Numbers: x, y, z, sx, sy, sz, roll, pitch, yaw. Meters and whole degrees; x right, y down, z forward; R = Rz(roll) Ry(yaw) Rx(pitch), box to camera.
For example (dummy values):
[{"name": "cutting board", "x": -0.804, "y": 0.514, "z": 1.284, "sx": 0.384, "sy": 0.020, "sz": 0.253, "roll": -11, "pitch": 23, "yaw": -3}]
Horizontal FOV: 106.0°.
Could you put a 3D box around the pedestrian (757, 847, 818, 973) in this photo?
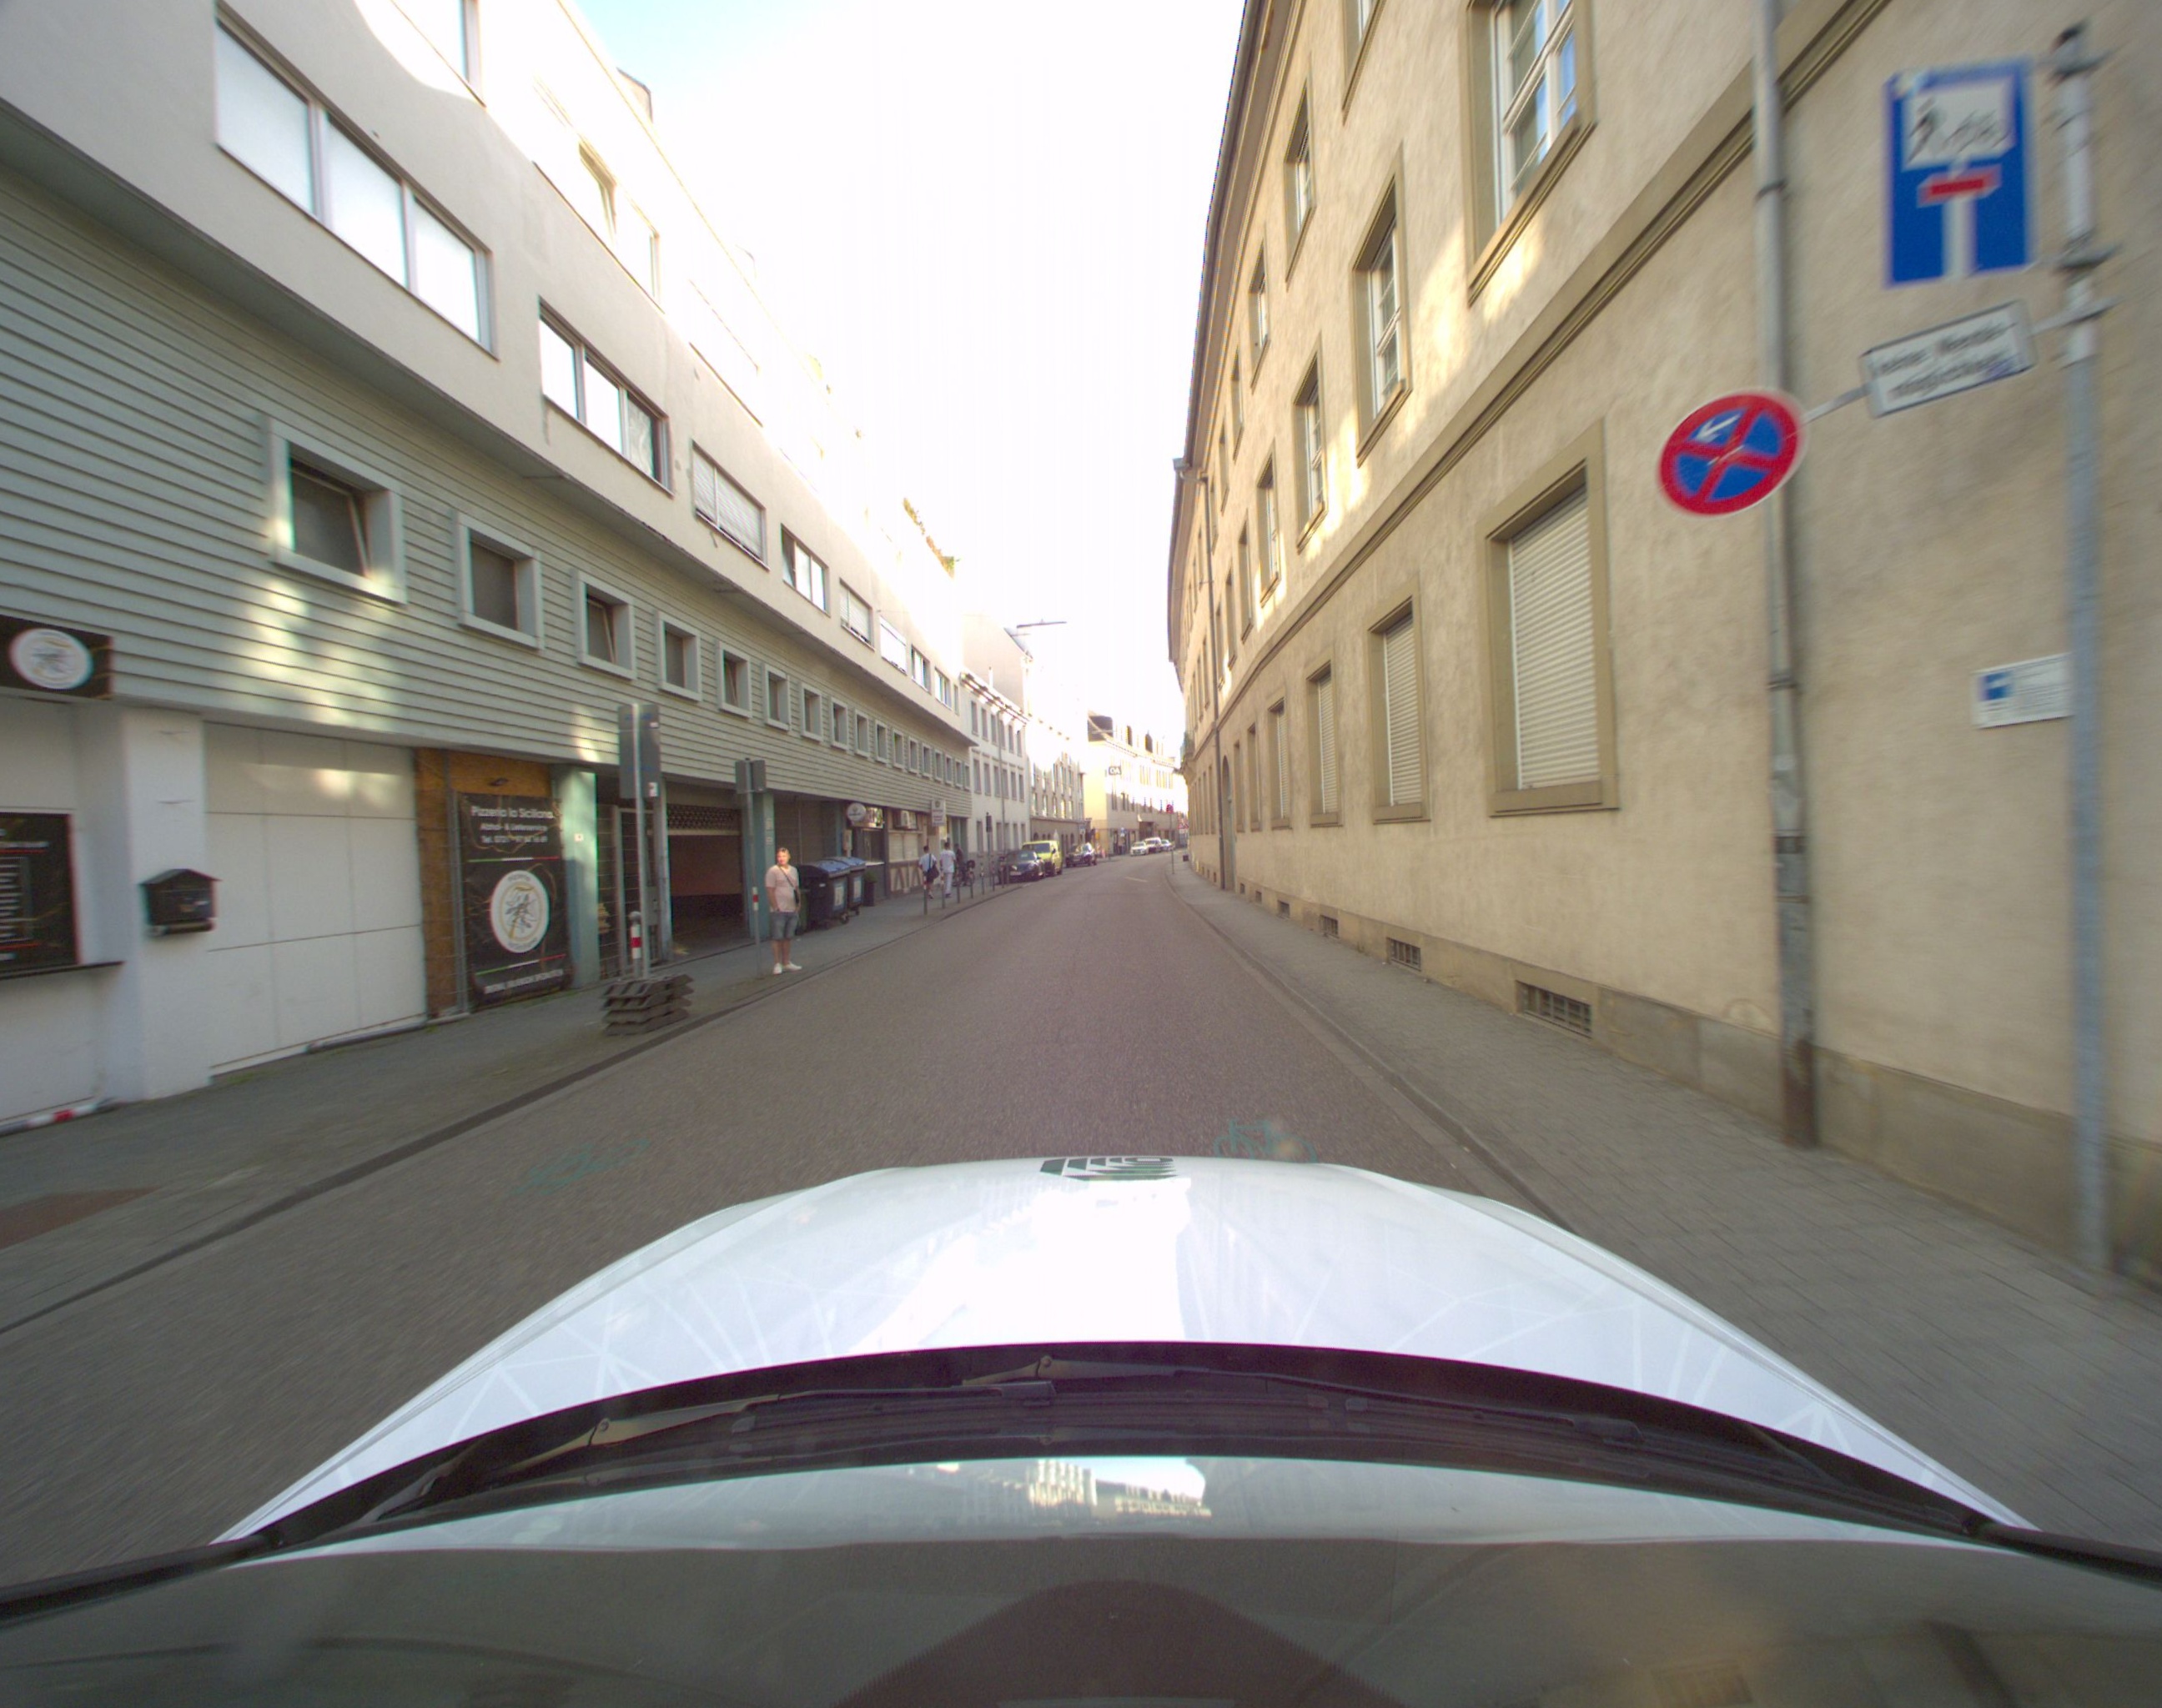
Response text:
[{"name": "pedestrian", "x": -4.054, "y": 0.747, "z": 11.243, "sx": 0.631, "sy": 1.669, "sz": 0.487, "roll": -1, "pitch": 1, "yaw": -45}]

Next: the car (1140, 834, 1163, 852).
[{"name": "car", "x": 8.260, "y": -1.301, "z": 95.624, "sx": 1.657, "sy": 1.818, "sz": 4.573, "roll": -4, "pitch": 1, "yaw": 17}]

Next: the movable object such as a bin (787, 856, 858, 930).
[{"name": "movable object such as a bin", "x": -5.726, "y": 0.841, "z": 18.115, "sx": 0.964, "sy": 1.471, "sz": 1.476, "roll": -3, "pitch": 2, "yaw": 2}]

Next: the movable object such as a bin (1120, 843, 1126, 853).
[{"name": "movable object such as a bin", "x": 4.677, "y": -0.669, "z": 91.506, "sx": 0.605, "sy": 1.060, "sz": 0.715, "roll": 0, "pitch": 1, "yaw": 8}]

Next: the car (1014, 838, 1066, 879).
[{"name": "car", "x": -2.110, "y": 0.174, "z": 43.494, "sx": 1.870, "sy": 1.866, "sz": 4.873, "roll": -5, "pitch": 1, "yaw": 6}]

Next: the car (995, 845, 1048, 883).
[{"name": "car", "x": -2.711, "y": 0.425, "z": 38.025, "sx": 1.811, "sy": 1.486, "sz": 4.081, "roll": -5, "pitch": 1, "yaw": 4}]

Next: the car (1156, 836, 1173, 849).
[{"name": "car", "x": 10.417, "y": -1.427, "z": 101.528, "sx": 1.261, "sy": 1.506, "sz": 3.418, "roll": -4, "pitch": 1, "yaw": 18}]

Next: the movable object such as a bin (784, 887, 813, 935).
[{"name": "movable object such as a bin", "x": -5.934, "y": 1.198, "z": 17.131, "sx": 0.391, "sy": 0.942, "sz": 0.467, "roll": -3, "pitch": 1, "yaw": 2}]

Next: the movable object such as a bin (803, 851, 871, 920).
[{"name": "movable object such as a bin", "x": -5.853, "y": 0.727, "z": 19.628, "sx": 1.118, "sy": 1.520, "sz": 1.343, "roll": -3, "pitch": 2, "yaw": 2}]

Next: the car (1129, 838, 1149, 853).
[{"name": "car", "x": 6.447, "y": -0.924, "z": 89.986, "sx": 1.659, "sy": 1.506, "sz": 3.807, "roll": -4, "pitch": 1, "yaw": 12}]

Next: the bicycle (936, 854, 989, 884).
[{"name": "bicycle", "x": -5.027, "y": 0.645, "z": 34.522, "sx": 2.108, "sy": 1.162, "sz": 0.829, "roll": -2, "pitch": 1, "yaw": 27}]

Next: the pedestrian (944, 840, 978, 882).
[{"name": "pedestrian", "x": -5.072, "y": 0.305, "z": 34.532, "sx": 1.067, "sy": 1.728, "sz": 0.807, "roll": -2, "pitch": 1, "yaw": 27}]

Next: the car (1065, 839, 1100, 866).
[{"name": "car", "x": 0.150, "y": -0.168, "z": 59.837, "sx": 1.729, "sy": 1.710, "sz": 4.203, "roll": -5, "pitch": 1, "yaw": 10}]

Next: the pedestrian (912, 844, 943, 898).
[{"name": "pedestrian", "x": -4.947, "y": 0.534, "z": 26.370, "sx": 0.669, "sy": 1.669, "sz": 0.896, "roll": -3, "pitch": 1, "yaw": 4}]

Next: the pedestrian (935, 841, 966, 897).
[{"name": "pedestrian", "x": -4.225, "y": 0.465, "z": 26.457, "sx": 0.695, "sy": 1.734, "sz": 0.830, "roll": -4, "pitch": 1, "yaw": 4}]
